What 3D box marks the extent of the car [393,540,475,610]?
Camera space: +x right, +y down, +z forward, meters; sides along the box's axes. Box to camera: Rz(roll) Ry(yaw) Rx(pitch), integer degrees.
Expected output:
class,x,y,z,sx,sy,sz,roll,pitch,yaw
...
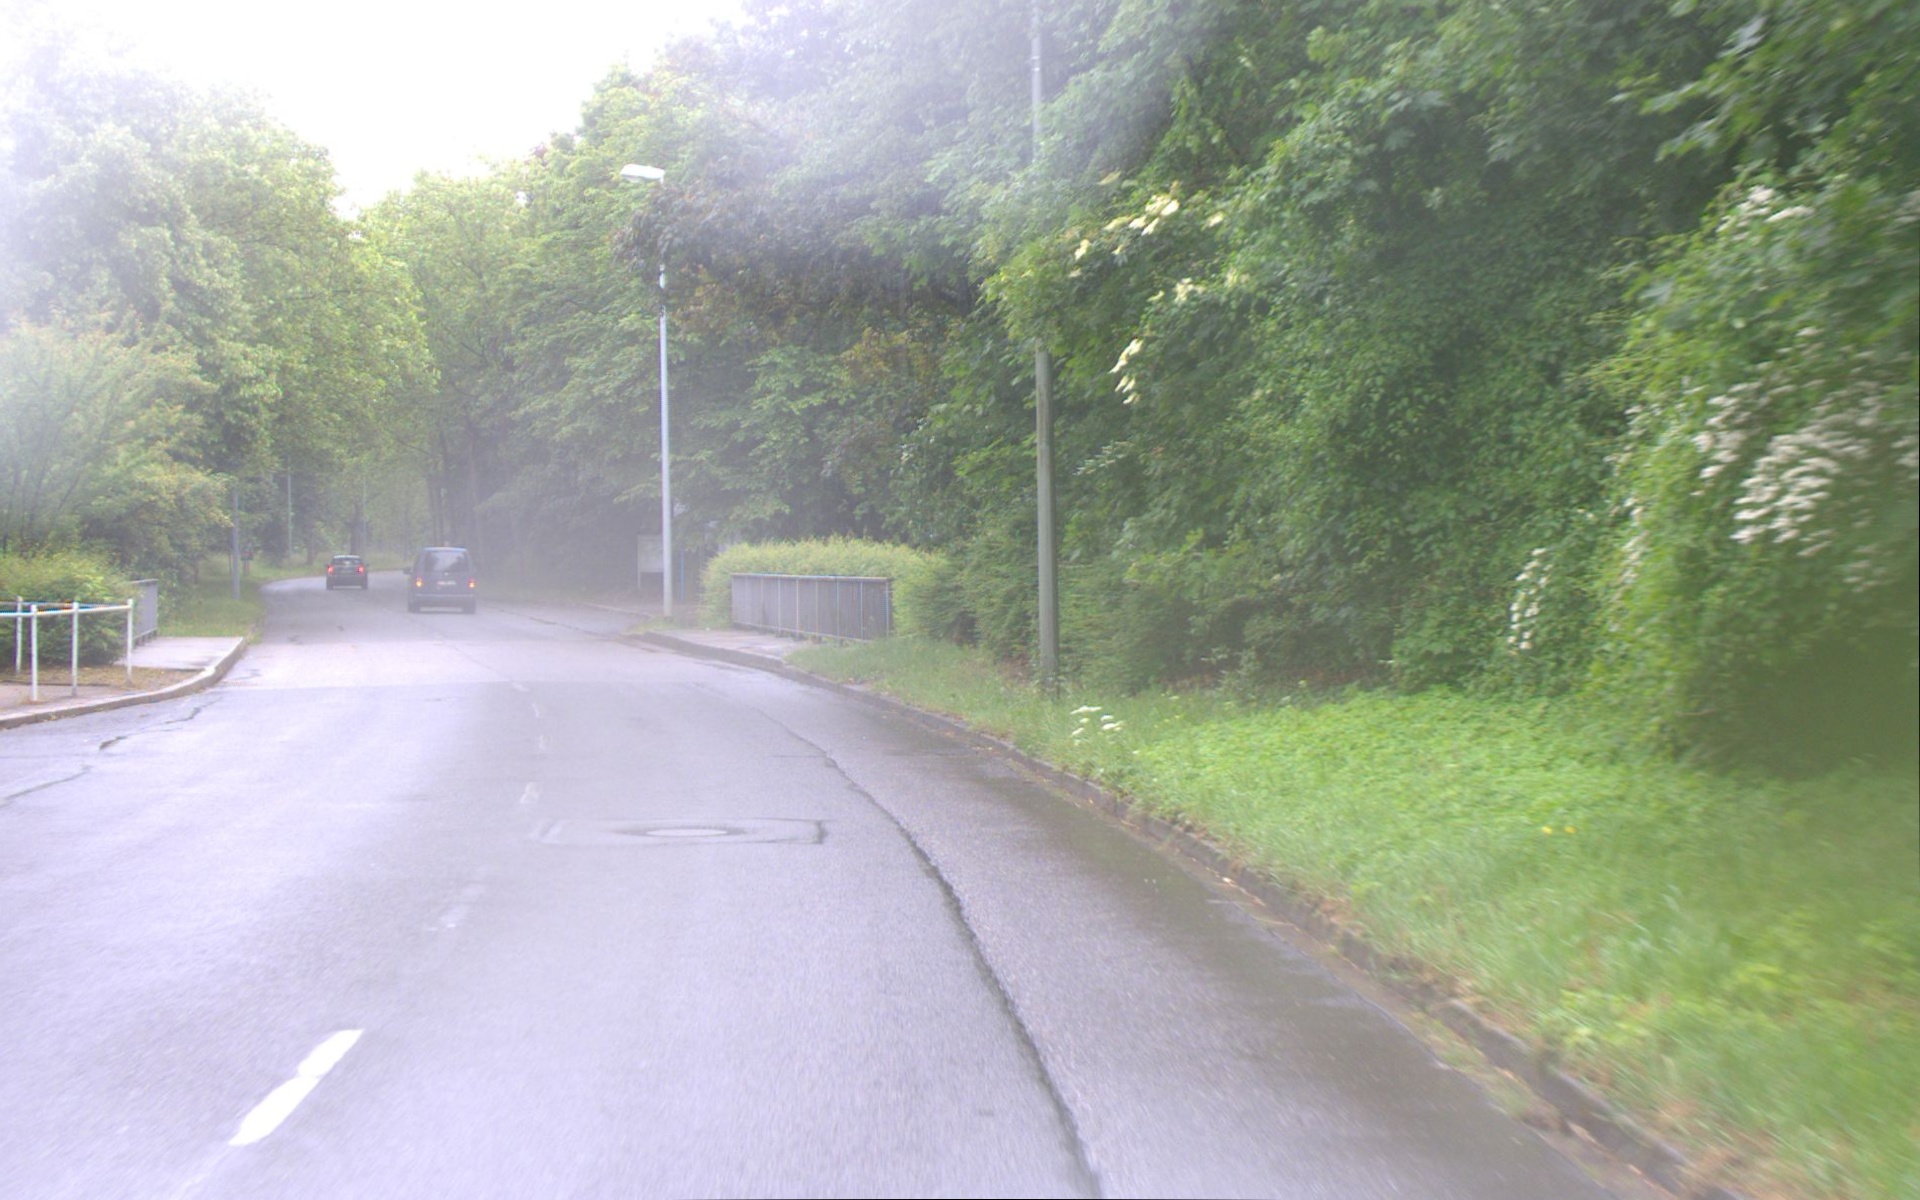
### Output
class,x,y,z,sx,sy,sz,roll,pitch,yaw
car,-14.769,-0.727,96.360,1.985,1.919,4.001,0,1,-13

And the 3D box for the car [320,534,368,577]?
class,x,y,z,sx,sy,sz,roll,pitch,yaw
car,-26.452,-1.908,147.662,1.993,1.809,4.001,1,0,-10
